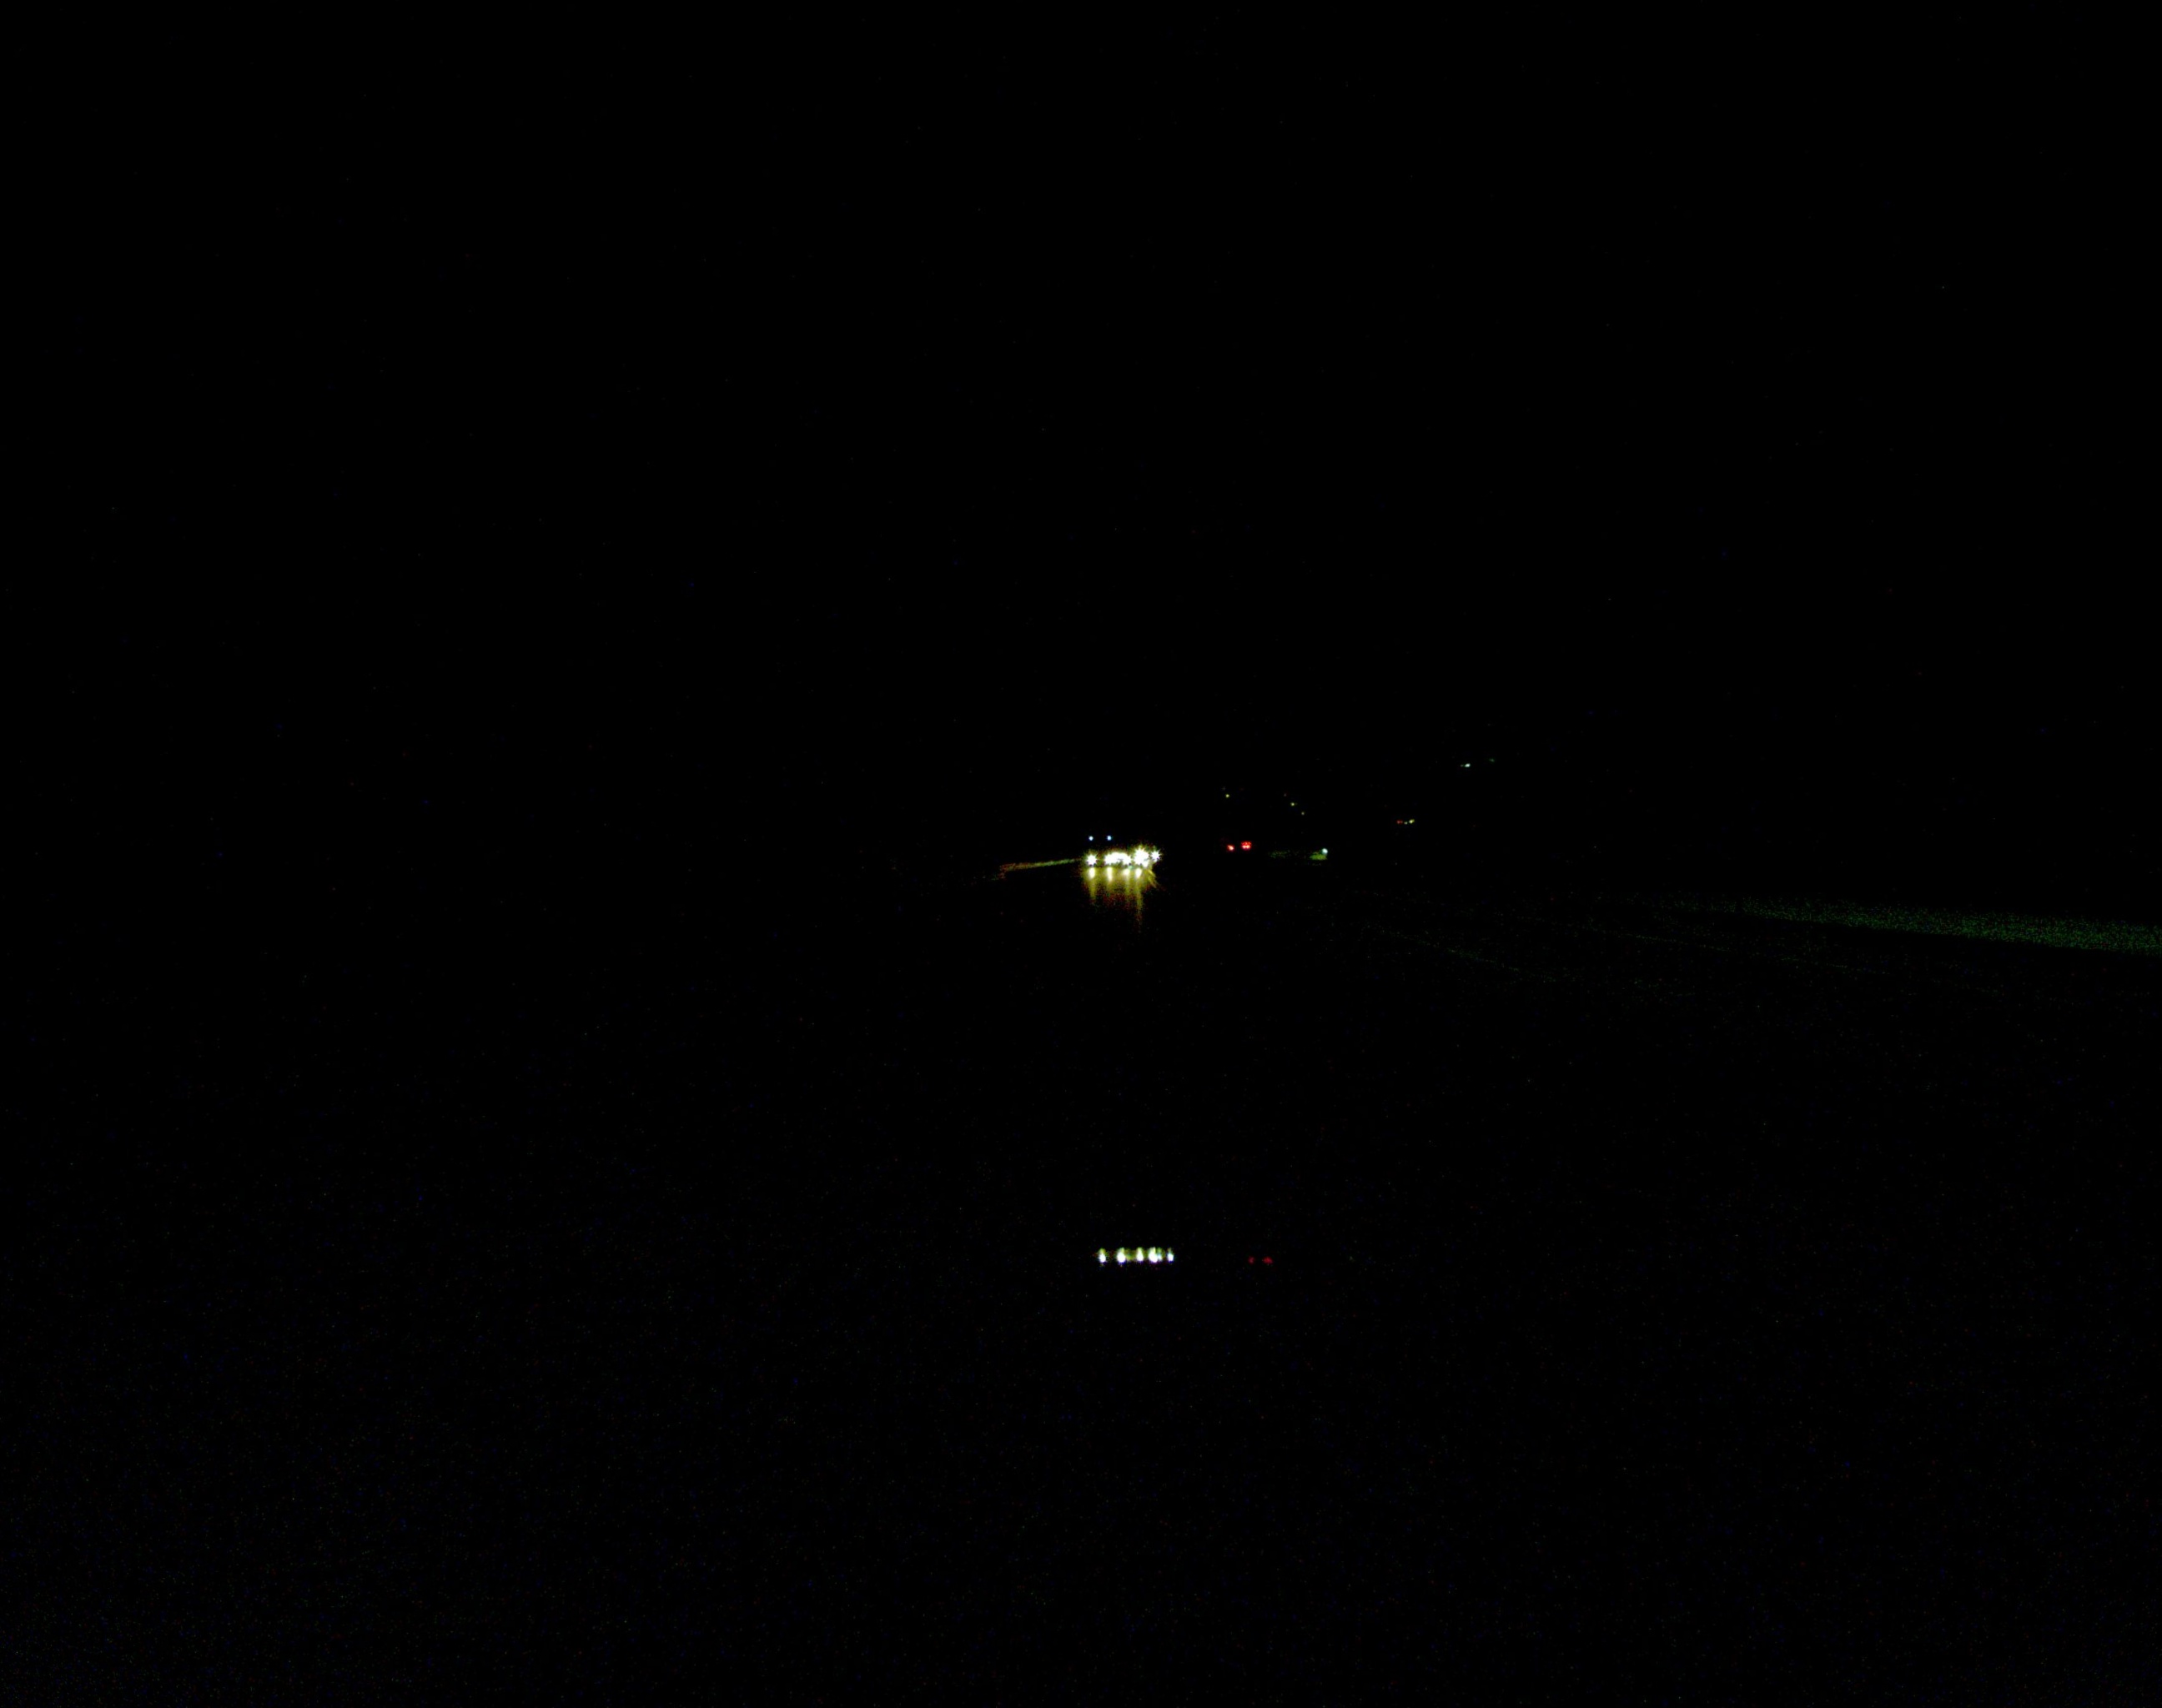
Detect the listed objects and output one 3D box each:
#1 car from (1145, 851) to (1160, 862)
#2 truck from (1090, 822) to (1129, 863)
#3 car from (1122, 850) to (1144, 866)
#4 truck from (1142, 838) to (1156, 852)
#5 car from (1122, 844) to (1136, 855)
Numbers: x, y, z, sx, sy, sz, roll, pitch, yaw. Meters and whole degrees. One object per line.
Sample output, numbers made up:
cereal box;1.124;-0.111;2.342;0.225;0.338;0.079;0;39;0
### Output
car;10.615;0.365;112.383;1.811;1.508;3.939;-1;-1;10
truck;3.519;-1.401;89.262;2.970;4.250;17.150;-1;1;7
car;5.156;0.396;74.826;1.811;1.508;3.938;-1;-1;8
truck;12.696;-1.664;142.003;2.425;2.410;7.094;-1;0;7
car;7.243;-0.699;114.469;1.690;1.620;4.724;-1;1;8
